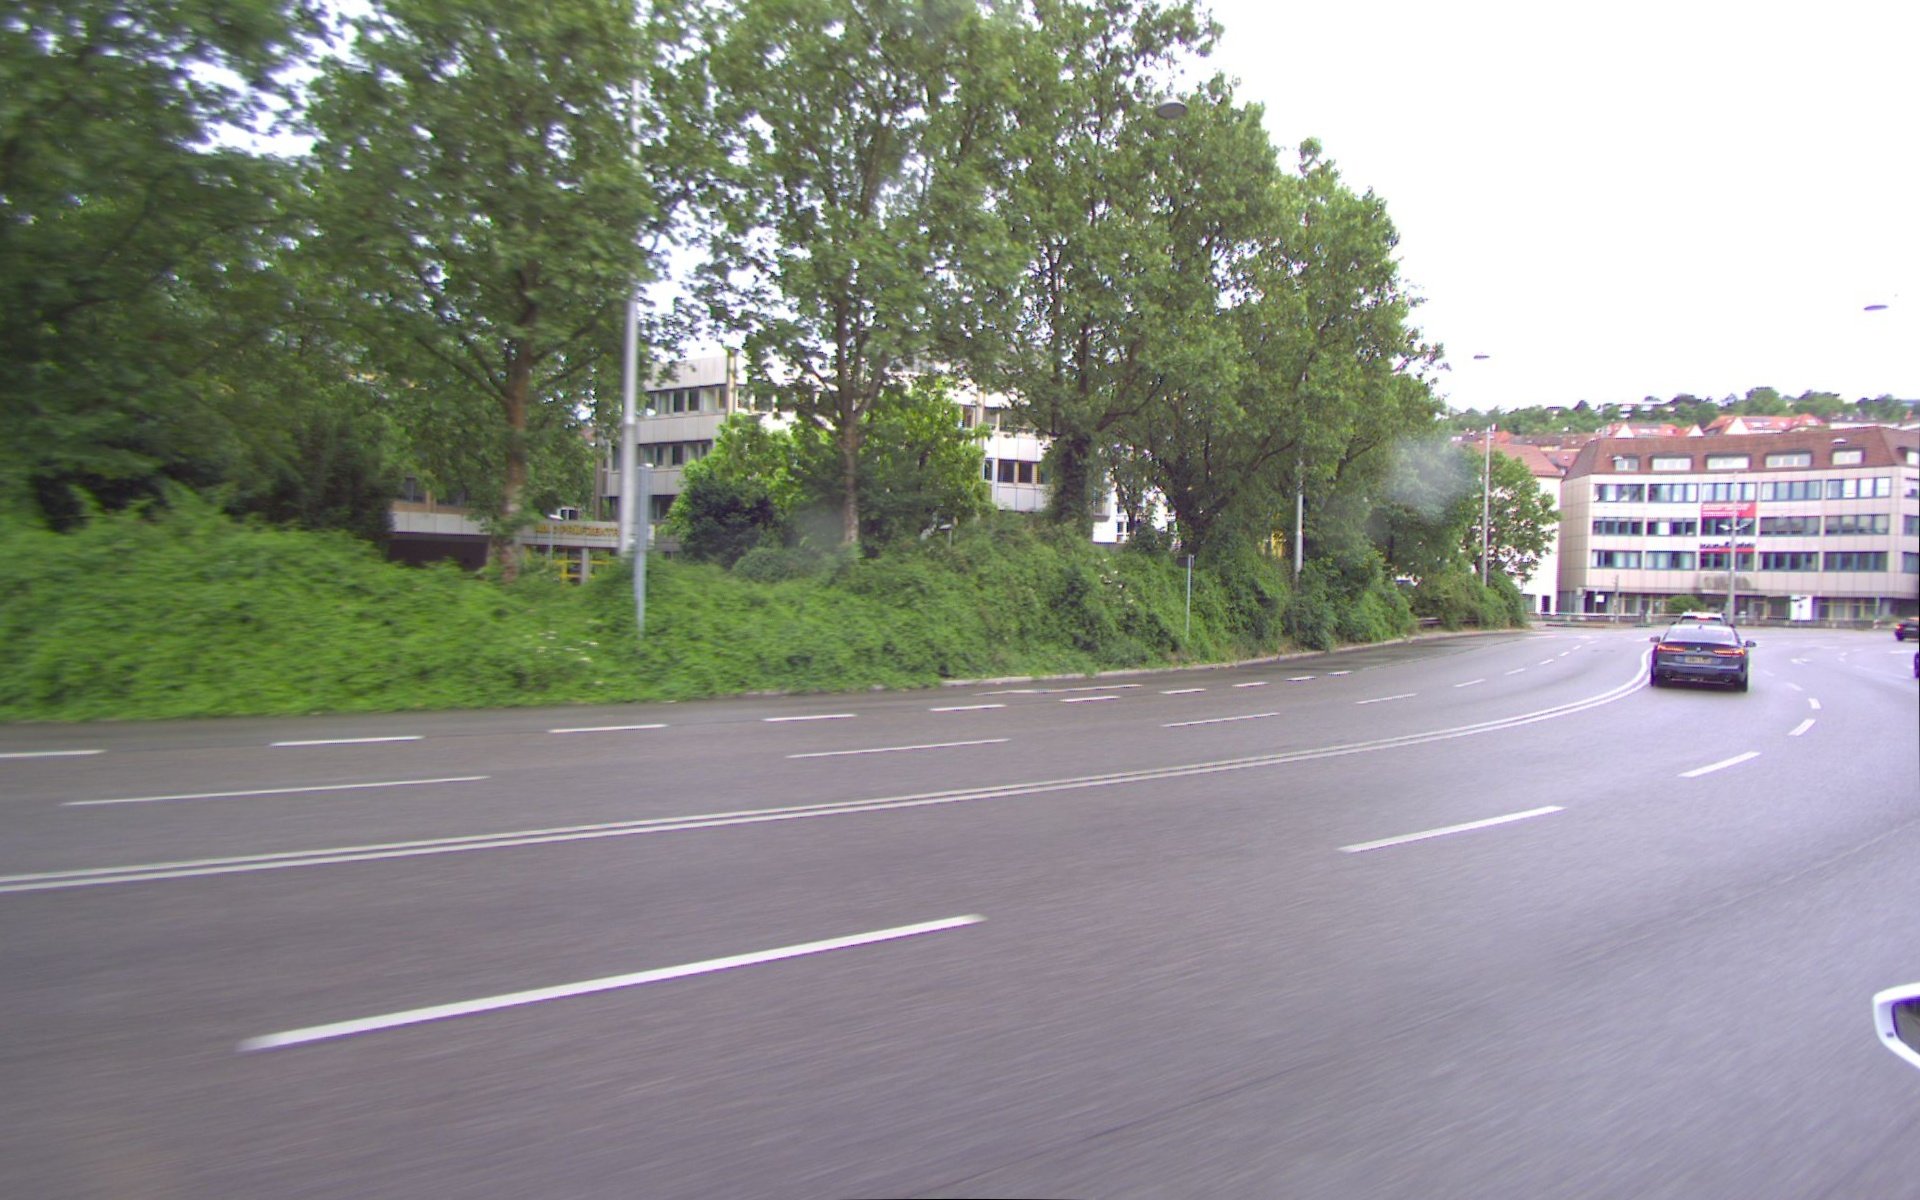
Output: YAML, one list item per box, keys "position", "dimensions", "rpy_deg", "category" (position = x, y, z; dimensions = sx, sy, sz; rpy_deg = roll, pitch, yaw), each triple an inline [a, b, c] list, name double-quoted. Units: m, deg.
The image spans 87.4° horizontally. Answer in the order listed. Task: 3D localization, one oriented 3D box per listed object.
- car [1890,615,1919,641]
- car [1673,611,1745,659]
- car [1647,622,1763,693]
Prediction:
- position: [56.794, 1.677, 59.552]
  dimensions: [4.574, 1.445, 1.776]
  rpy_deg: [1, 1, -40]
  category: "car"
- position: [28.966, 1.338, 38.790]
  dimensions: [1.878, 1.716, 3.979]
  rpy_deg: [1, -1, 41]
  category: "car"
- position: [17.531, 1.287, 23.562]
  dimensions: [1.771, 1.445, 4.361]
  rpy_deg: [1, -1, 42]
  category: "car"
